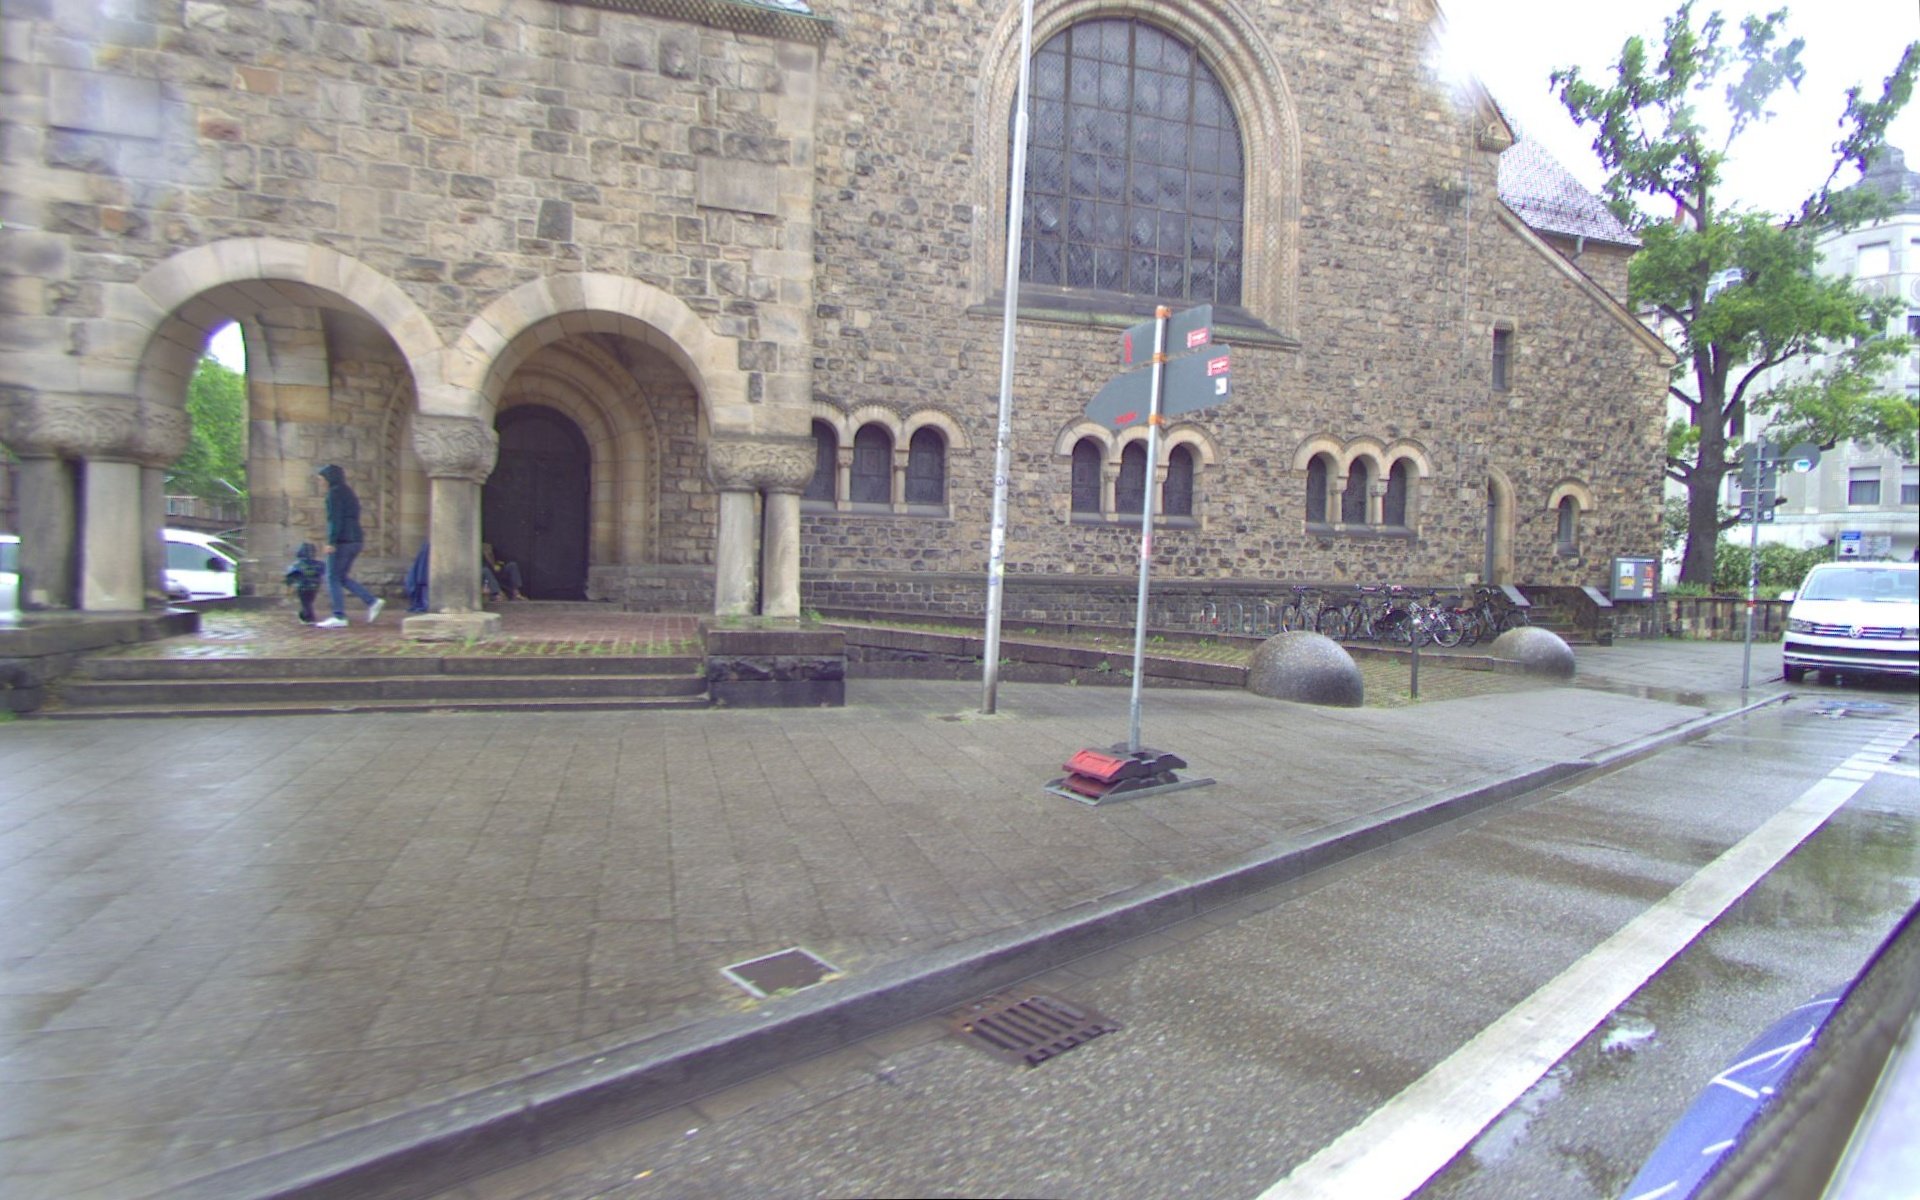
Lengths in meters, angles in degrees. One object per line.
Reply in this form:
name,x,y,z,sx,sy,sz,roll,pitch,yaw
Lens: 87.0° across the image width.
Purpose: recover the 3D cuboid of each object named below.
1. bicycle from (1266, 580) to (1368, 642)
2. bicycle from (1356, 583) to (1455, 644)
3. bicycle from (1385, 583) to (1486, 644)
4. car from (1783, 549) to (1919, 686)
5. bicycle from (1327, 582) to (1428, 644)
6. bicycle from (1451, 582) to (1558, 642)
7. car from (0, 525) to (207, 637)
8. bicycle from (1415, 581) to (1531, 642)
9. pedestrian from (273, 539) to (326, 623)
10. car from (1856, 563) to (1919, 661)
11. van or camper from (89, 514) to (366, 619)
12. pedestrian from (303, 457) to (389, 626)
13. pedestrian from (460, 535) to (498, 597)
bicycle,6.753,0.185,19.258,0.564,1.062,2.014,1,2,-24
bicycle,8.653,0.241,19.753,0.569,1.073,1.933,1,2,-19
bicycle,9.347,0.247,19.980,0.569,1.073,1.933,1,2,-19
car,15.351,0.213,16.662,5.181,1.946,1.908,0,3,-41
bicycle,8.017,0.226,19.521,0.569,1.073,1.933,1,2,-22
bicycle,10.913,0.216,20.370,0.593,1.079,1.988,1,2,-19
car,-14.019,-0.293,15.674,3.288,1.593,1.740,-3,2,-14
bicycle,10.137,0.194,20.091,0.663,1.073,2.161,1,2,-19
pedestrian,-7.241,-0.211,11.100,0.388,0.895,0.457,1,1,-21
car,20.256,0.233,21.059,4.221,1.868,1.836,0,3,-41
van or camper,-13.721,-0.676,19.210,3.848,1.748,1.653,-3,3,-17
pedestrian,-6.548,-0.609,10.813,0.664,1.724,0.635,1,1,-21
pedestrian,-7.149,-0.503,15.042,0.447,0.895,0.397,1,1,-18
